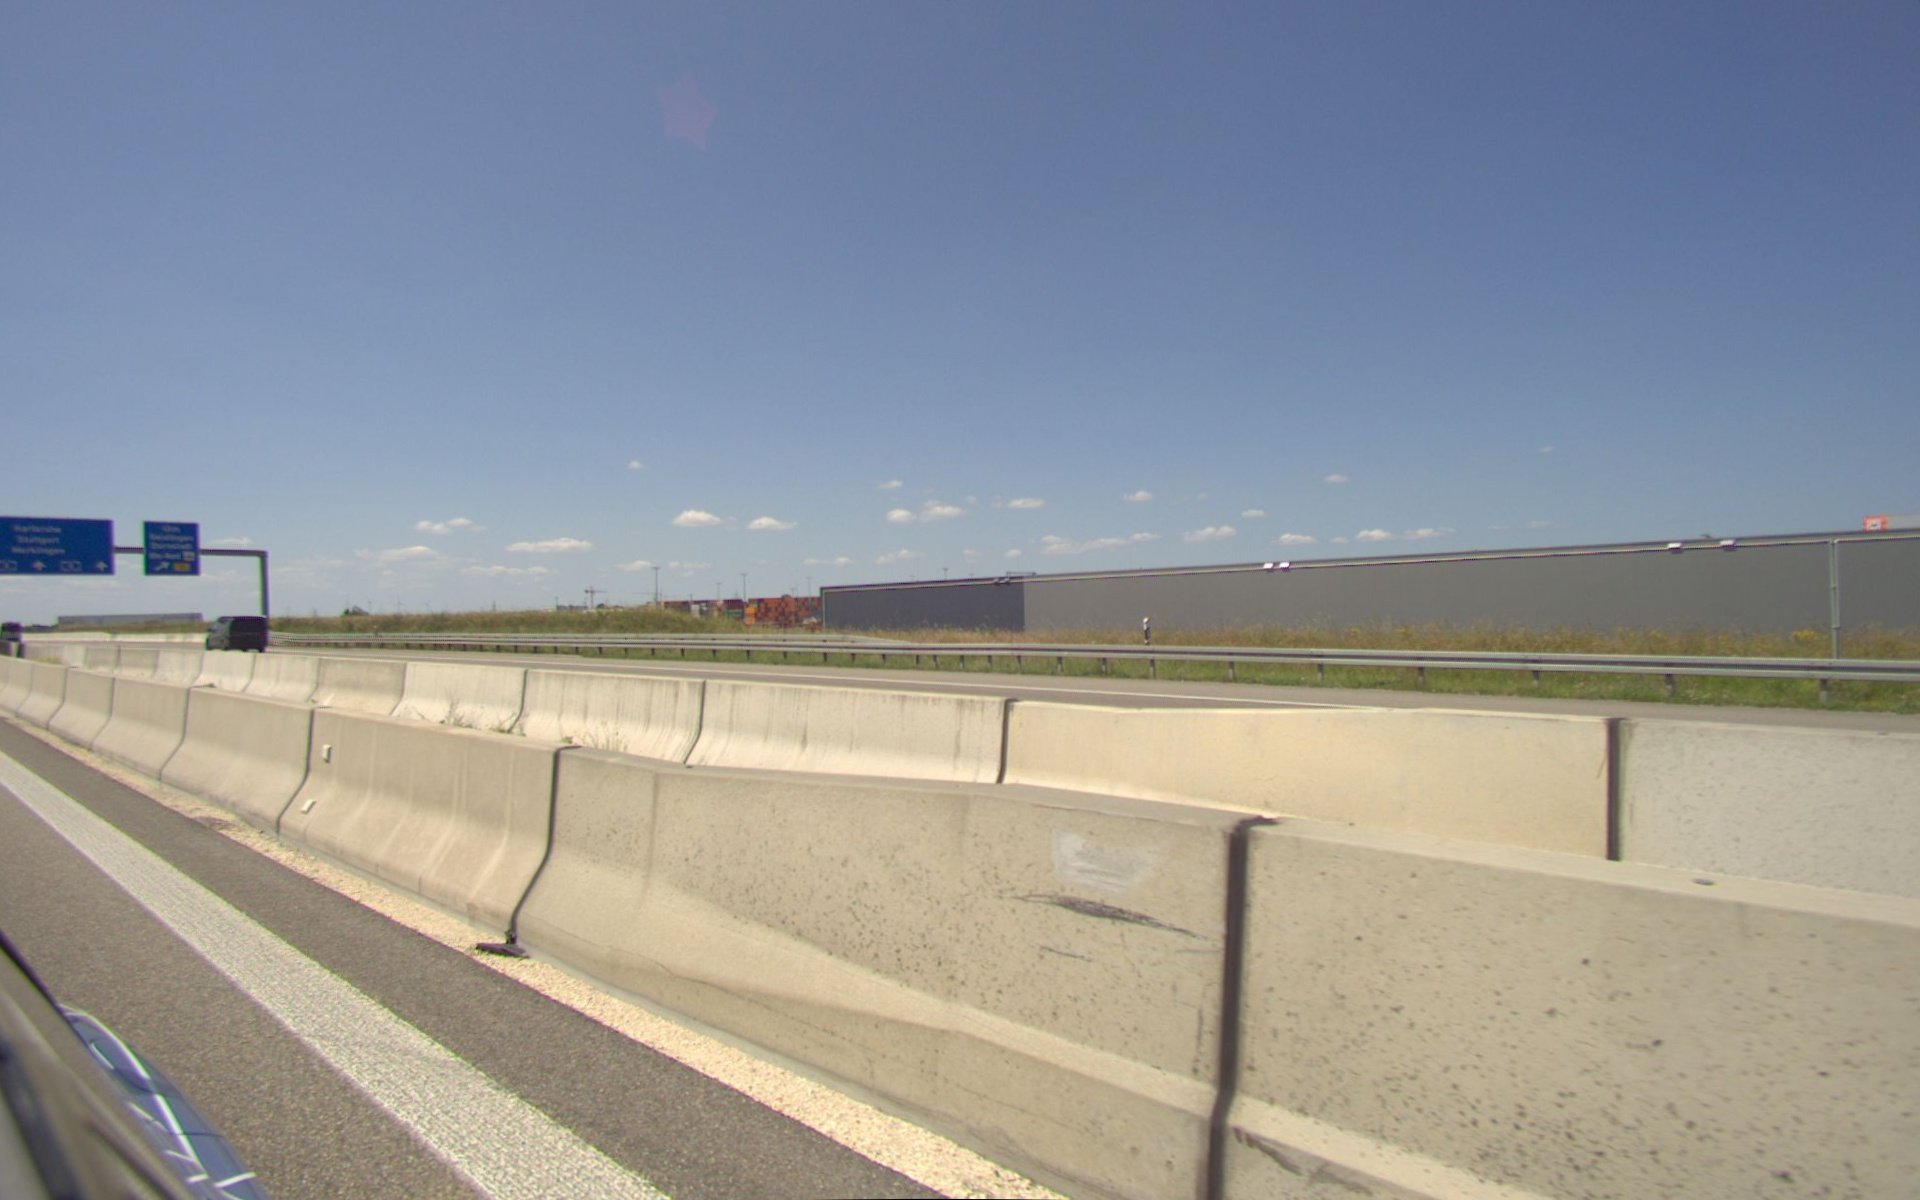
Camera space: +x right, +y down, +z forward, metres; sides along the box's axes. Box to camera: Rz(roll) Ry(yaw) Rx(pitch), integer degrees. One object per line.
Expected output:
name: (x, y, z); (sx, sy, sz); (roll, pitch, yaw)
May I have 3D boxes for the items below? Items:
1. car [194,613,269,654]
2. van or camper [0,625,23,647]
car: (-39.117, 1.858, 54.299); (5.379, 2.029, 2.125); (-4, -5, 42)
van or camper: (-114.596, 4.350, 121.526); (6.311, 2.578, 2.295); (-2, -2, 41)
